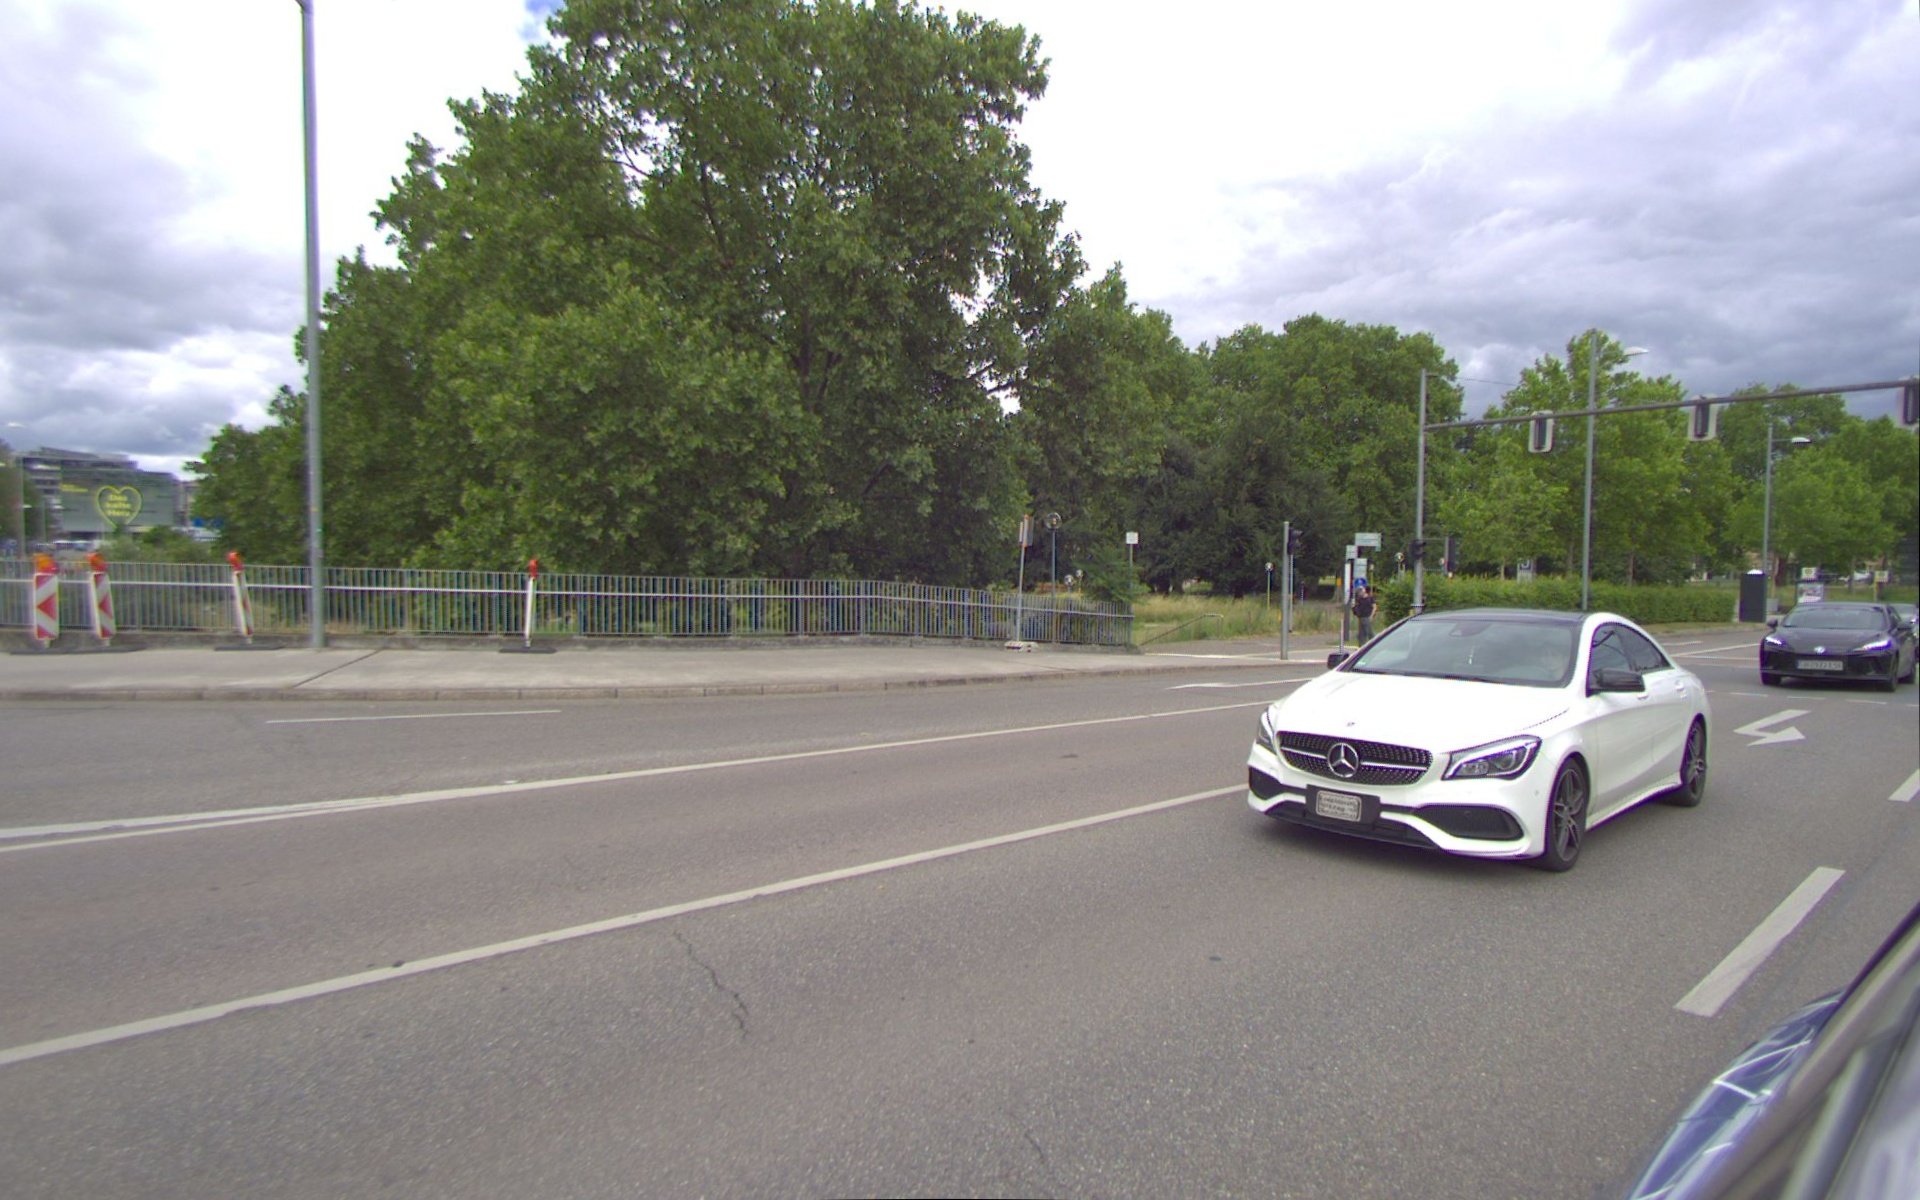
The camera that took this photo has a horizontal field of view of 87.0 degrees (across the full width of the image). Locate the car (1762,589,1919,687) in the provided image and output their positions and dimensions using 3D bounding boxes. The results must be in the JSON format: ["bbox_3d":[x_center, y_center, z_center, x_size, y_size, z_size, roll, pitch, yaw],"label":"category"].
[{"bbox_3d":[16.095,0.606,18.263,4.047,1.543,1.828,0,1,-41],"label":"car"}]

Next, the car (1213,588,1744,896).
[{"bbox_3d":[3.769,0.657,6.957,4.427,1.441,1.722,-1,1,-41],"label":"car"}]

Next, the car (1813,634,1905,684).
[{"bbox_3d":[31.034,1.996,34.899,3.930,1.438,1.866,-1,1,-40],"label":"car"}]

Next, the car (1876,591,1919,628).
[{"bbox_3d":[42.371,0.412,45.153,3.931,1.556,1.722,-1,1,-41],"label":"car"}]

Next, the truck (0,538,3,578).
[{"bbox_3d":[-81.253,-3.474,81.630,2.753,3.411,7.652,0,1,-16],"label":"truck"}]

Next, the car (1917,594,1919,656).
[{"bbox_3d":[26.076,0.658,26.088,3.929,1.557,1.572,2,-3,-40],"label":"car"}]

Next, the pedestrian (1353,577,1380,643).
[{"bbox_3d":[11.072,0.260,27.564,0.610,1.786,0.478,0,1,-44],"label":"pedestrian"}]
